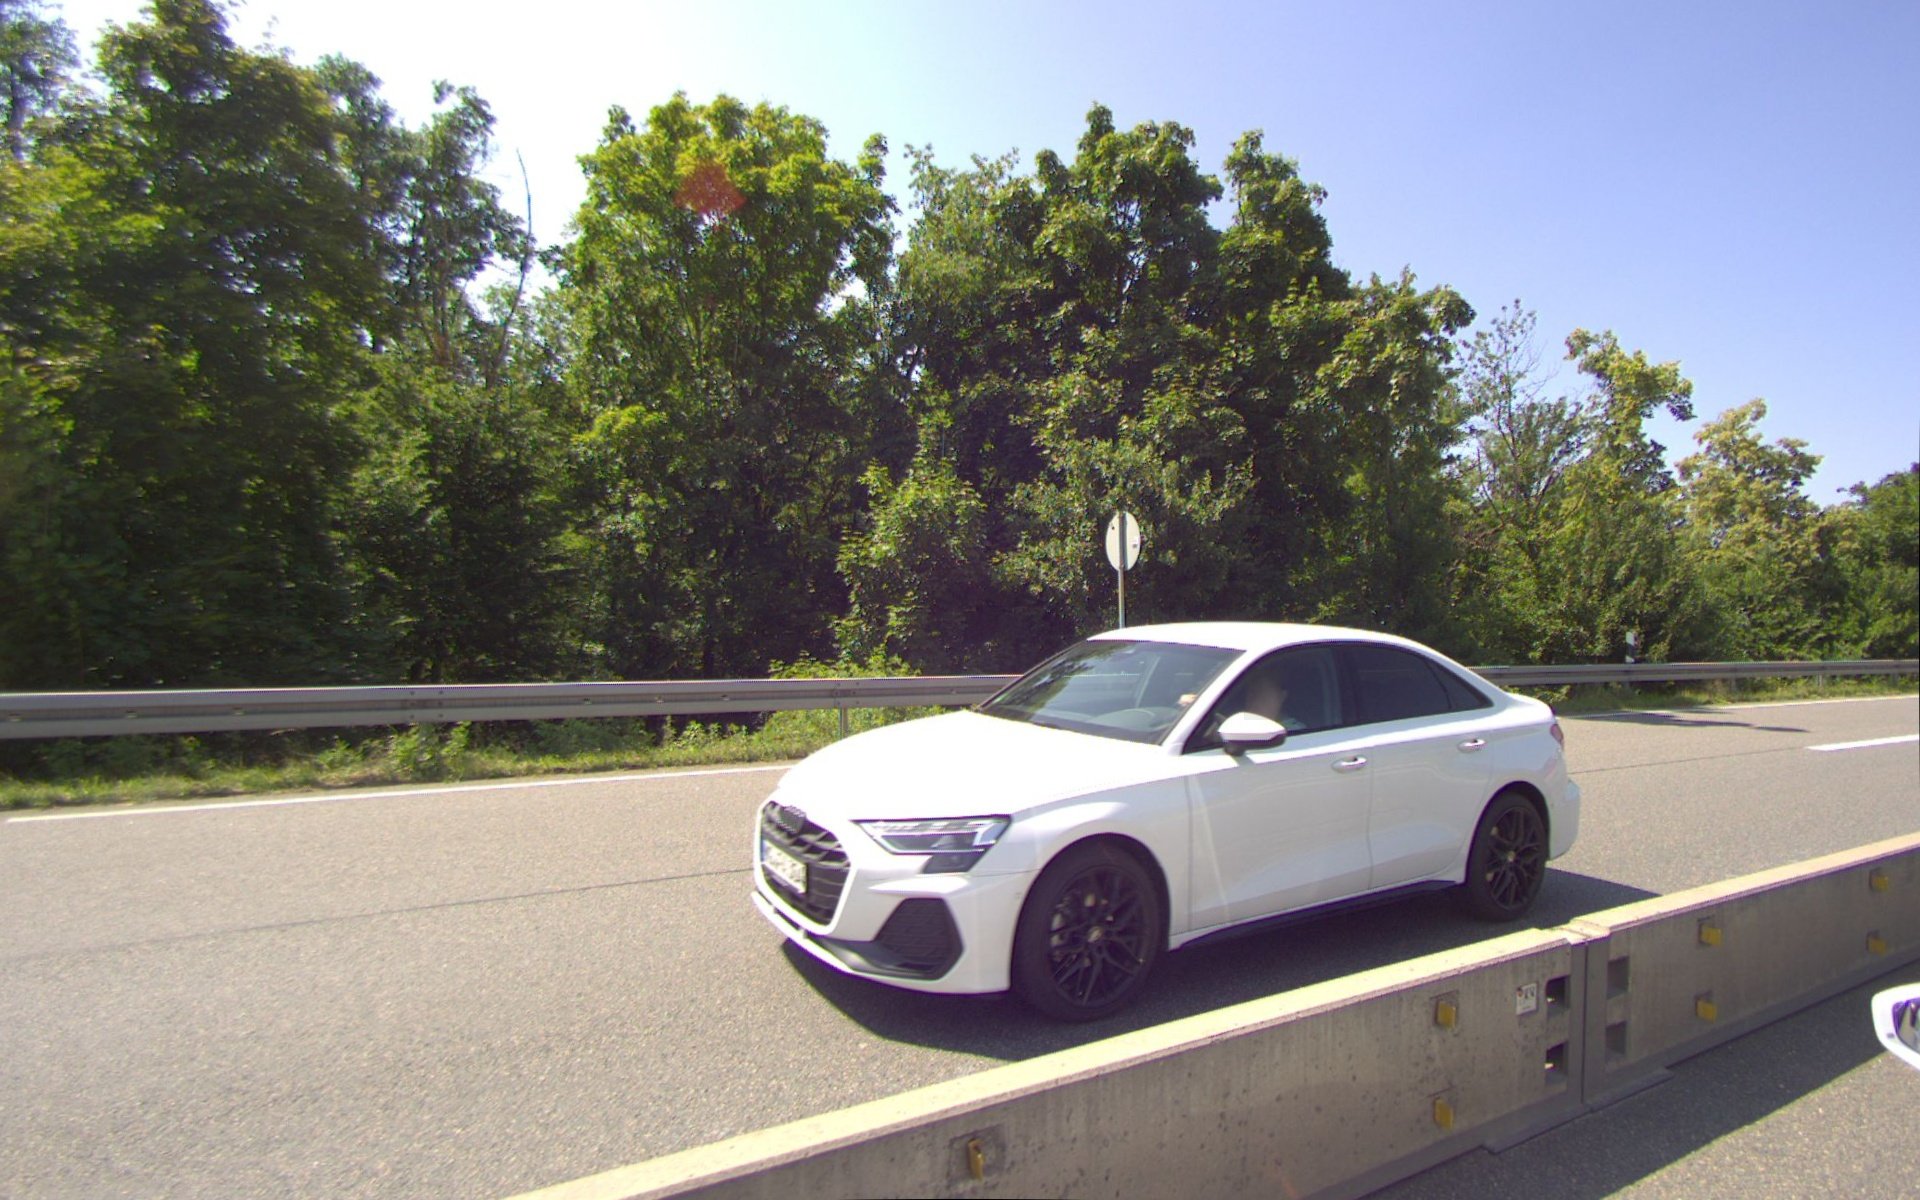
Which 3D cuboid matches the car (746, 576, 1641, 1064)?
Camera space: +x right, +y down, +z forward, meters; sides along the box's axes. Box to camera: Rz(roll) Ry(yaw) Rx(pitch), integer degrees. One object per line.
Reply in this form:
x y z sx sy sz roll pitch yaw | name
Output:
1.334 0.753 5.181 4.385 1.559 1.939 2 0 -31 | car
